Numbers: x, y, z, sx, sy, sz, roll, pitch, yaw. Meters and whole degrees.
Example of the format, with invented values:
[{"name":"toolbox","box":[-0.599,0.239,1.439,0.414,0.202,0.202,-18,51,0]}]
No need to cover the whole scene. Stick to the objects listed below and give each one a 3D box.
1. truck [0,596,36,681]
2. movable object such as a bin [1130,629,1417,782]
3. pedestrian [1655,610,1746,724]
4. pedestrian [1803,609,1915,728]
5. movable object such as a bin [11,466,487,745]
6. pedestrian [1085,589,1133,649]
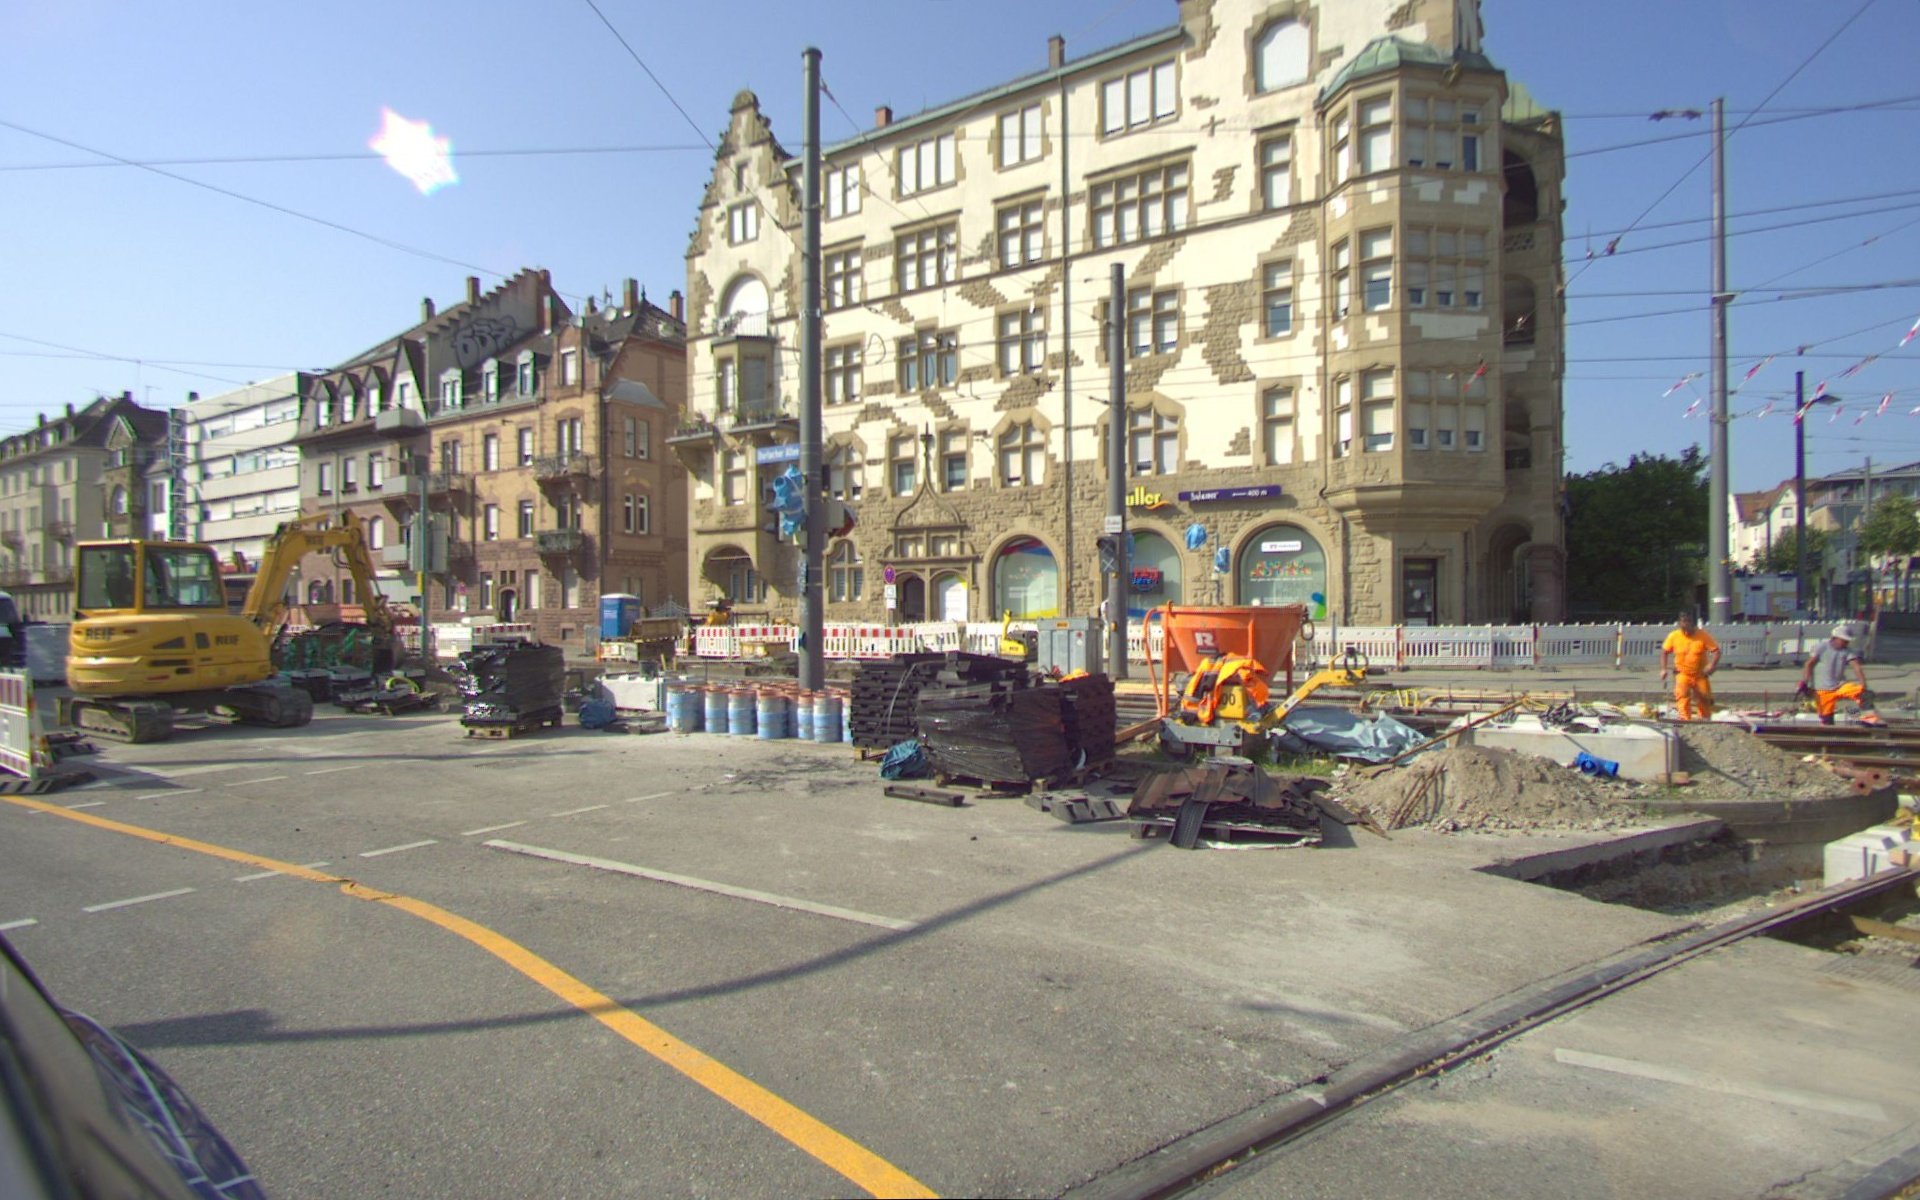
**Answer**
[{"name":"truck","box":[-28.193,1.058,28.358,7.038,2.239,2.138,-1,-2,37]},{"name":"movable object such as a bin","box":[2.684,0.847,8.881,2.289,1.179,0.742,-1,-1,40]},{"name":"pedestrian","box":[9.955,0.859,13.650,0.915,1.453,1.132,-1,-1,34]},{"name":"pedestrian","box":[11.611,0.845,13.119,0.915,1.453,1.132,-1,-1,34]},{"name":"movable object such as a bin","box":[-10.226,0.088,15.463,2.096,3.371,6.137,-1,0,13]},{"name":"pedestrian","box":[4.433,0.556,30.053,1.142,1.754,0.907,-1,-1,33]}]
